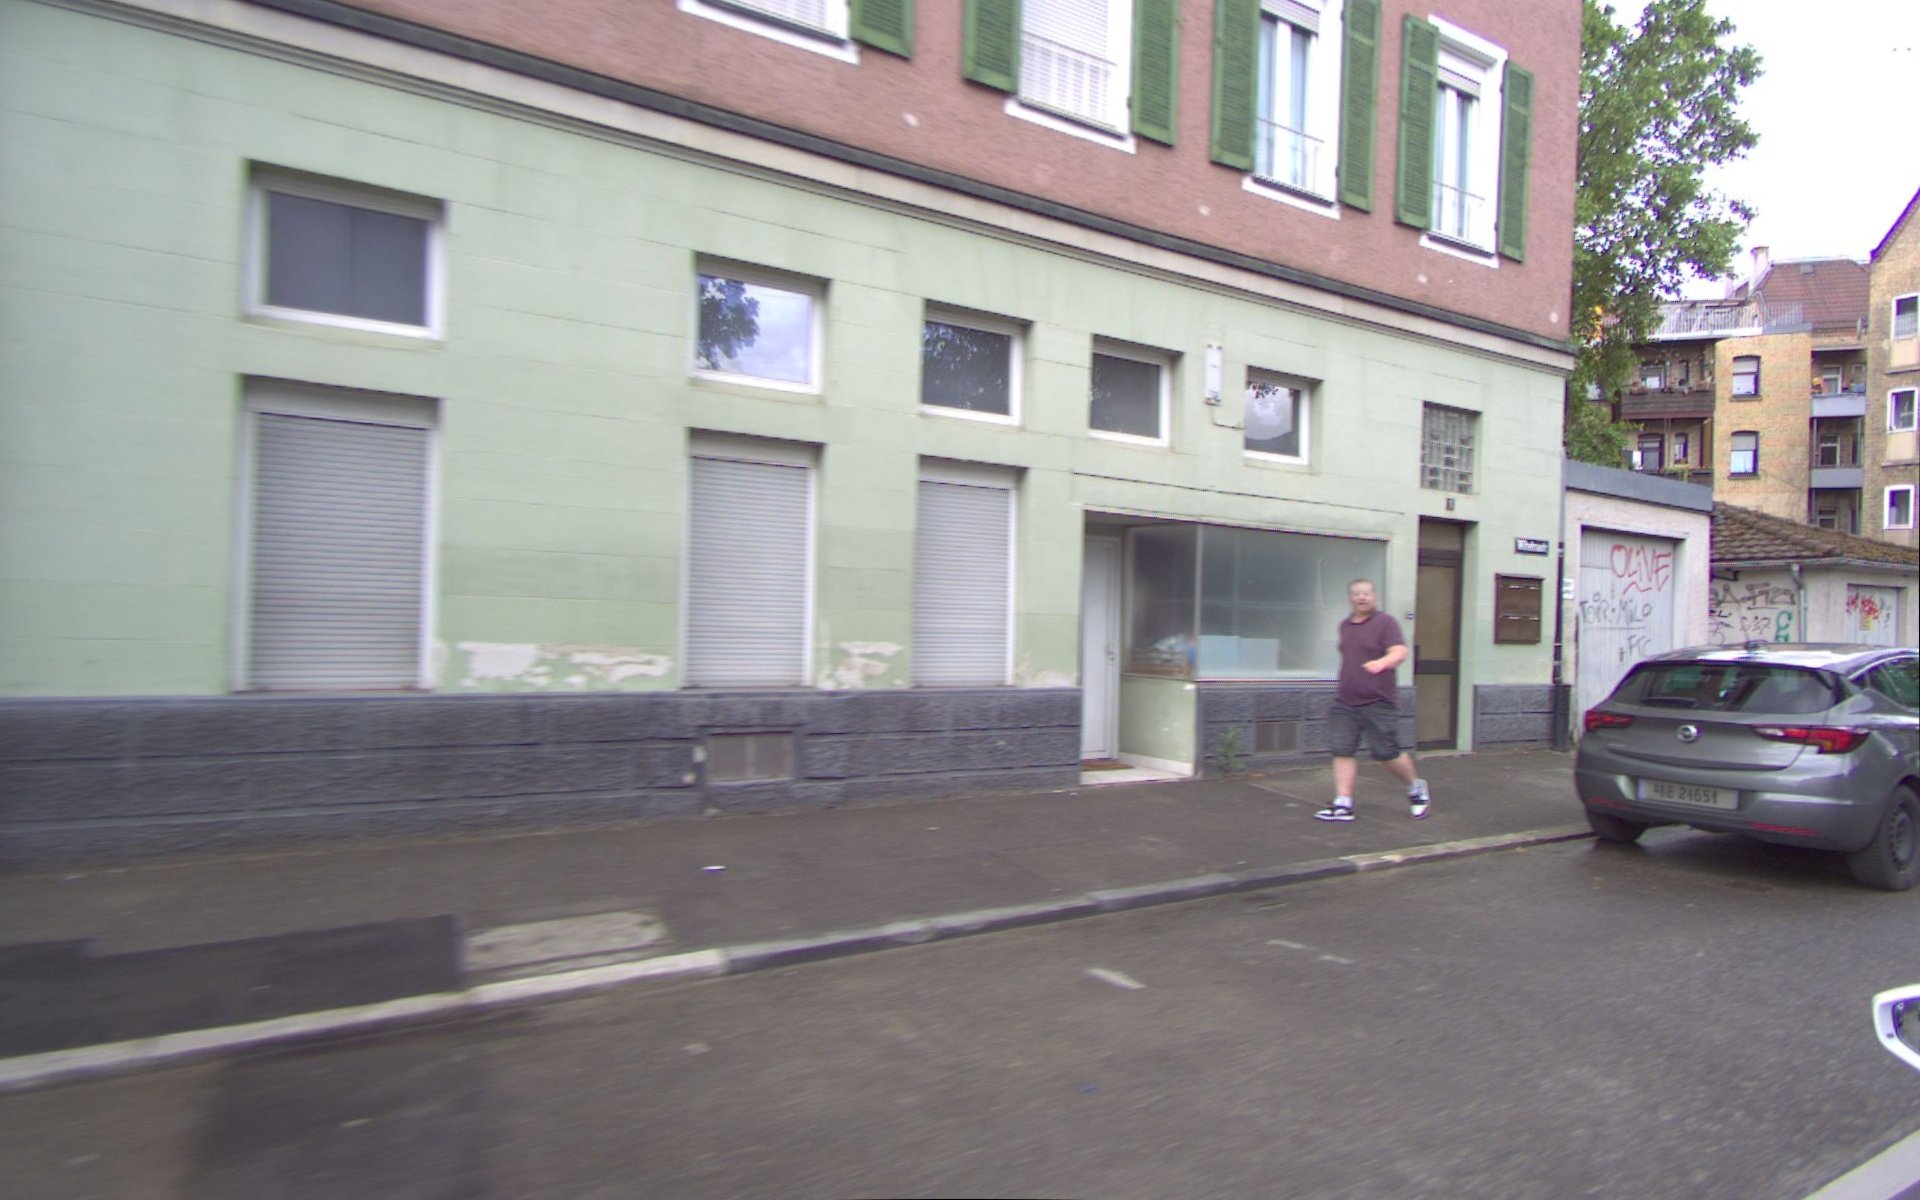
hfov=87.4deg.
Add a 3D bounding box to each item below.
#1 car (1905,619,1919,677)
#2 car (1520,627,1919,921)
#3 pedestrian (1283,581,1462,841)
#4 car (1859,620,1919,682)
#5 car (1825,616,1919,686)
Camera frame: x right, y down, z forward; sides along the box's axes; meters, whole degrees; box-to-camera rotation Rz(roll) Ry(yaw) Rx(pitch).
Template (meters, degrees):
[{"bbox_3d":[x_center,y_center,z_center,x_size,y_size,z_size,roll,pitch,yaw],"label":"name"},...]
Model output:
[{"bbox_3d":[26.873,1.242,25.655,1.830,1.524,3.583,1,-2,-27],"label":"car"},{"bbox_3d":[6.245,1.009,7.321,4.076,1.506,1.870,1,2,-29],"label":"car"},{"bbox_3d":[3.049,0.760,7.449,0.973,1.767,0.757,0,3,-31],"label":"pedestrian"},{"bbox_3d":[24.611,1.258,24.422,1.830,1.524,3.709,1,-2,-27],"label":"car"},{"bbox_3d":[22.255,1.177,23.304,1.830,1.585,2.837,1,-2,-27],"label":"car"}]
